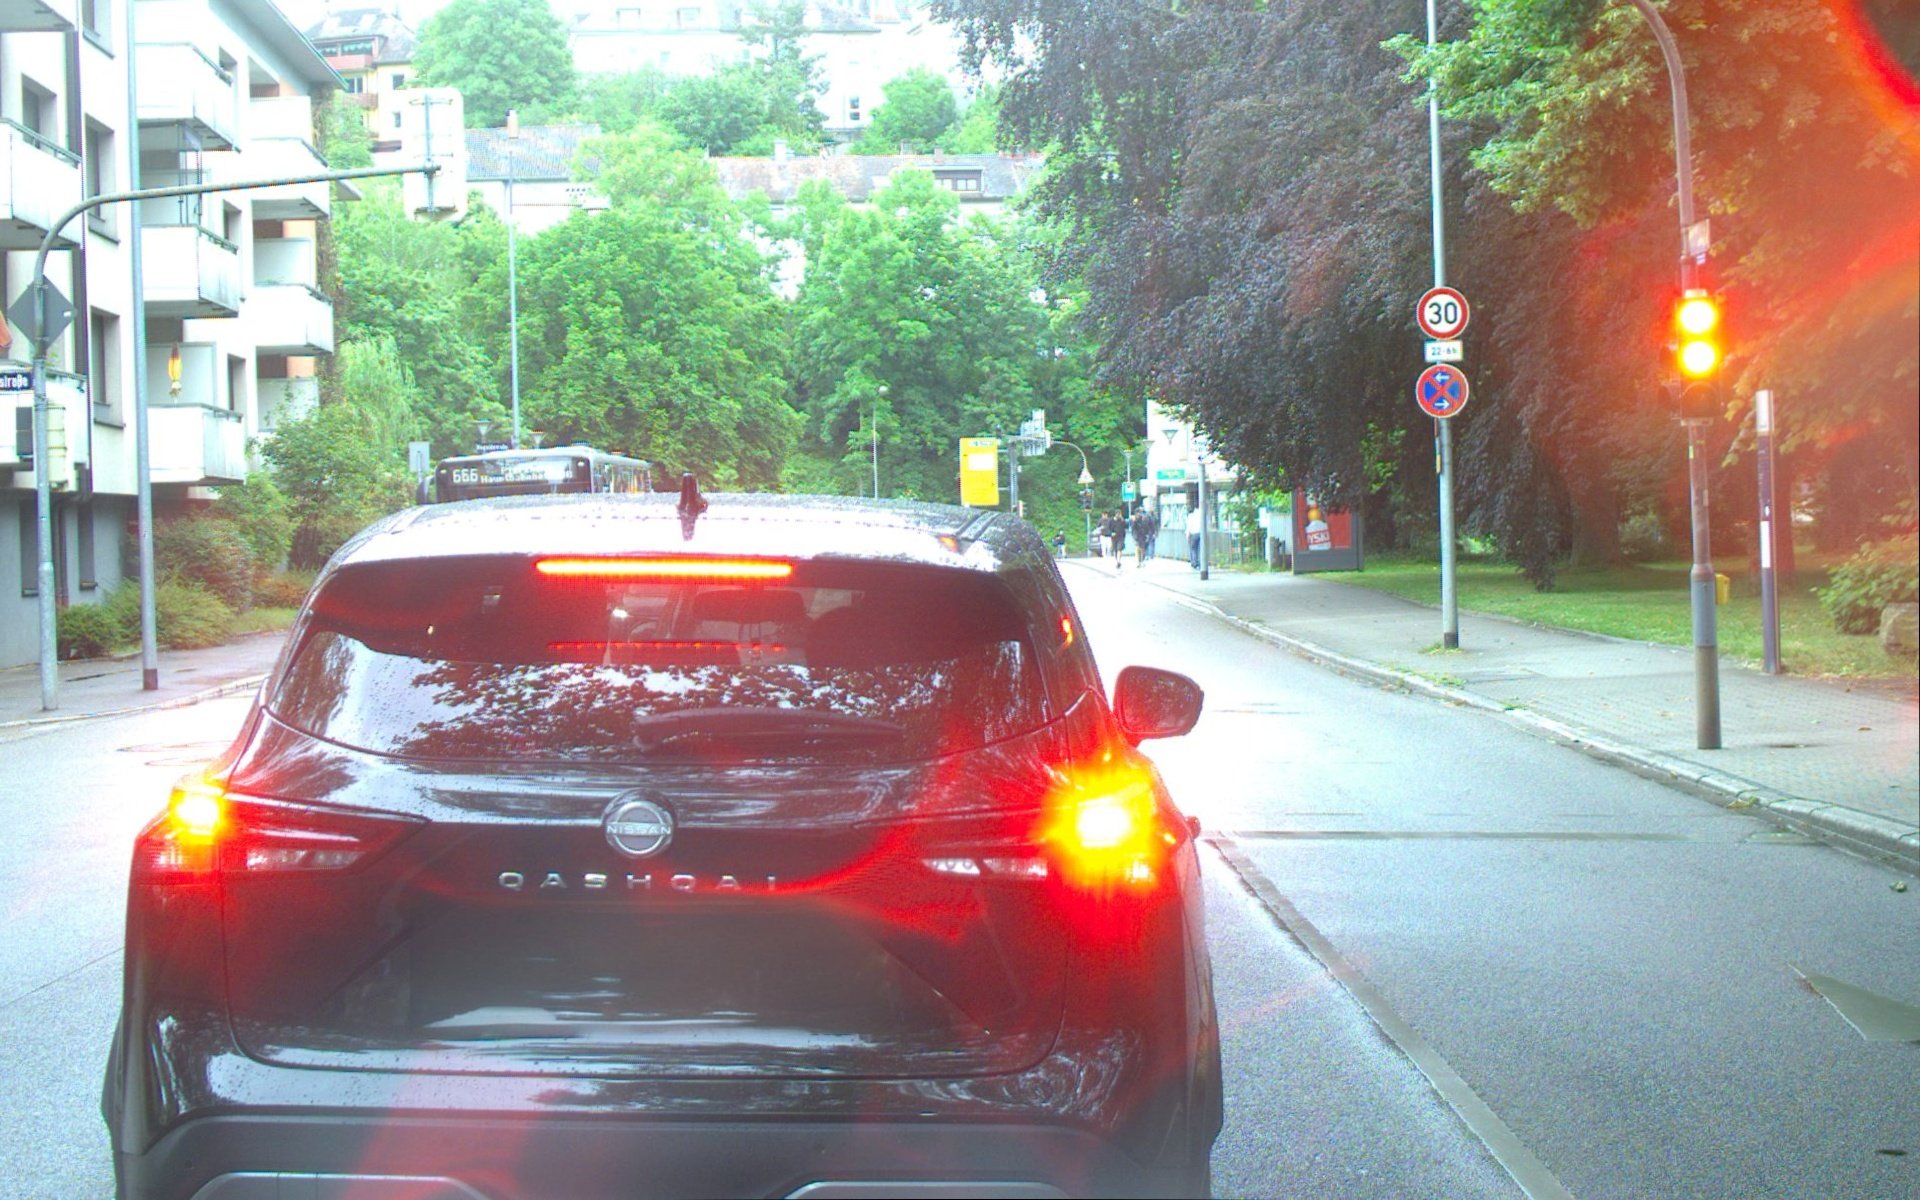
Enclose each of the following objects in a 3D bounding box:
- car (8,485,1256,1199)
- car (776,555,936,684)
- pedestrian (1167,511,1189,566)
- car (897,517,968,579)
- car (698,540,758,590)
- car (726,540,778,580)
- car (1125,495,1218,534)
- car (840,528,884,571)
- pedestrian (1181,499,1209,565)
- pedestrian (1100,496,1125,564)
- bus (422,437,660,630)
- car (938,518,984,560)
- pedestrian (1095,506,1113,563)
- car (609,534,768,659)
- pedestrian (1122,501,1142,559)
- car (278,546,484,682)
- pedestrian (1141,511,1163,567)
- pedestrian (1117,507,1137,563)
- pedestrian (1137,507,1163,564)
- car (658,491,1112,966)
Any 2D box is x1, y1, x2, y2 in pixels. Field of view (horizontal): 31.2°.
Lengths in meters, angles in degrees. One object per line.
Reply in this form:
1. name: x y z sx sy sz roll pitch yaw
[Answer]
1. car: -0.504 0.616 7.017 1.806 1.584 4.000 1 1 -1
2. car: -1.242 0.193 41.092 1.808 1.412 4.031 0 1 -2
3. pedestrian: 7.080 -2.004 111.809 0.618 1.773 0.551 -2 1 -1
4. car: -0.656 -1.266 83.164 1.624 1.410 3.455 -2 1 0
5. car: -7.347 -1.121 109.119 1.676 1.464 4.217 -3 1 -2
6. car: -7.423 -1.450 122.849 1.676 1.291 3.752 -3 1 -2
7. car: 10.101 -4.092 164.356 3.986 1.678 2.001 -2 1 -10
8. car: -4.656 -2.411 164.170 1.993 2.007 4.000 1 1 -1
9. pedestrian: 6.415 -1.864 93.809 0.618 1.773 0.778 -2 1 -1
10. pedestrian: 4.932 -2.259 111.164 0.768 2.176 0.711 1 0 3
11. bus: -7.118 -1.141 60.053 2.766 2.964 11.782 -2 1 -1
12. car: 0.036 -2.492 139.520 1.750 1.628 3.635 -2 1 0
13. pedestrian: 4.201 -1.907 100.349 0.475 1.645 0.490 1 0 0
14. car: -3.303 -0.079 42.318 1.624 1.410 3.455 -2 1 0
15. pedestrian: 4.930 -2.016 98.798 0.514 1.650 0.550 1 0 -1
16. car: -6.813 0.128 40.839 1.808 1.412 4.031 -3 1 -2
17. pedestrian: 6.216 -1.979 111.246 0.618 1.773 0.551 -2 1 -1
18. pedestrian: 4.880 -1.897 100.350 0.544 1.645 0.490 1 0 0
19. pedestrian: 5.552 -1.889 100.476 0.699 1.645 0.628 1 0 0
20. car: -0.245 0.438 14.637 1.622 1.703 3.771 -2 1 1
